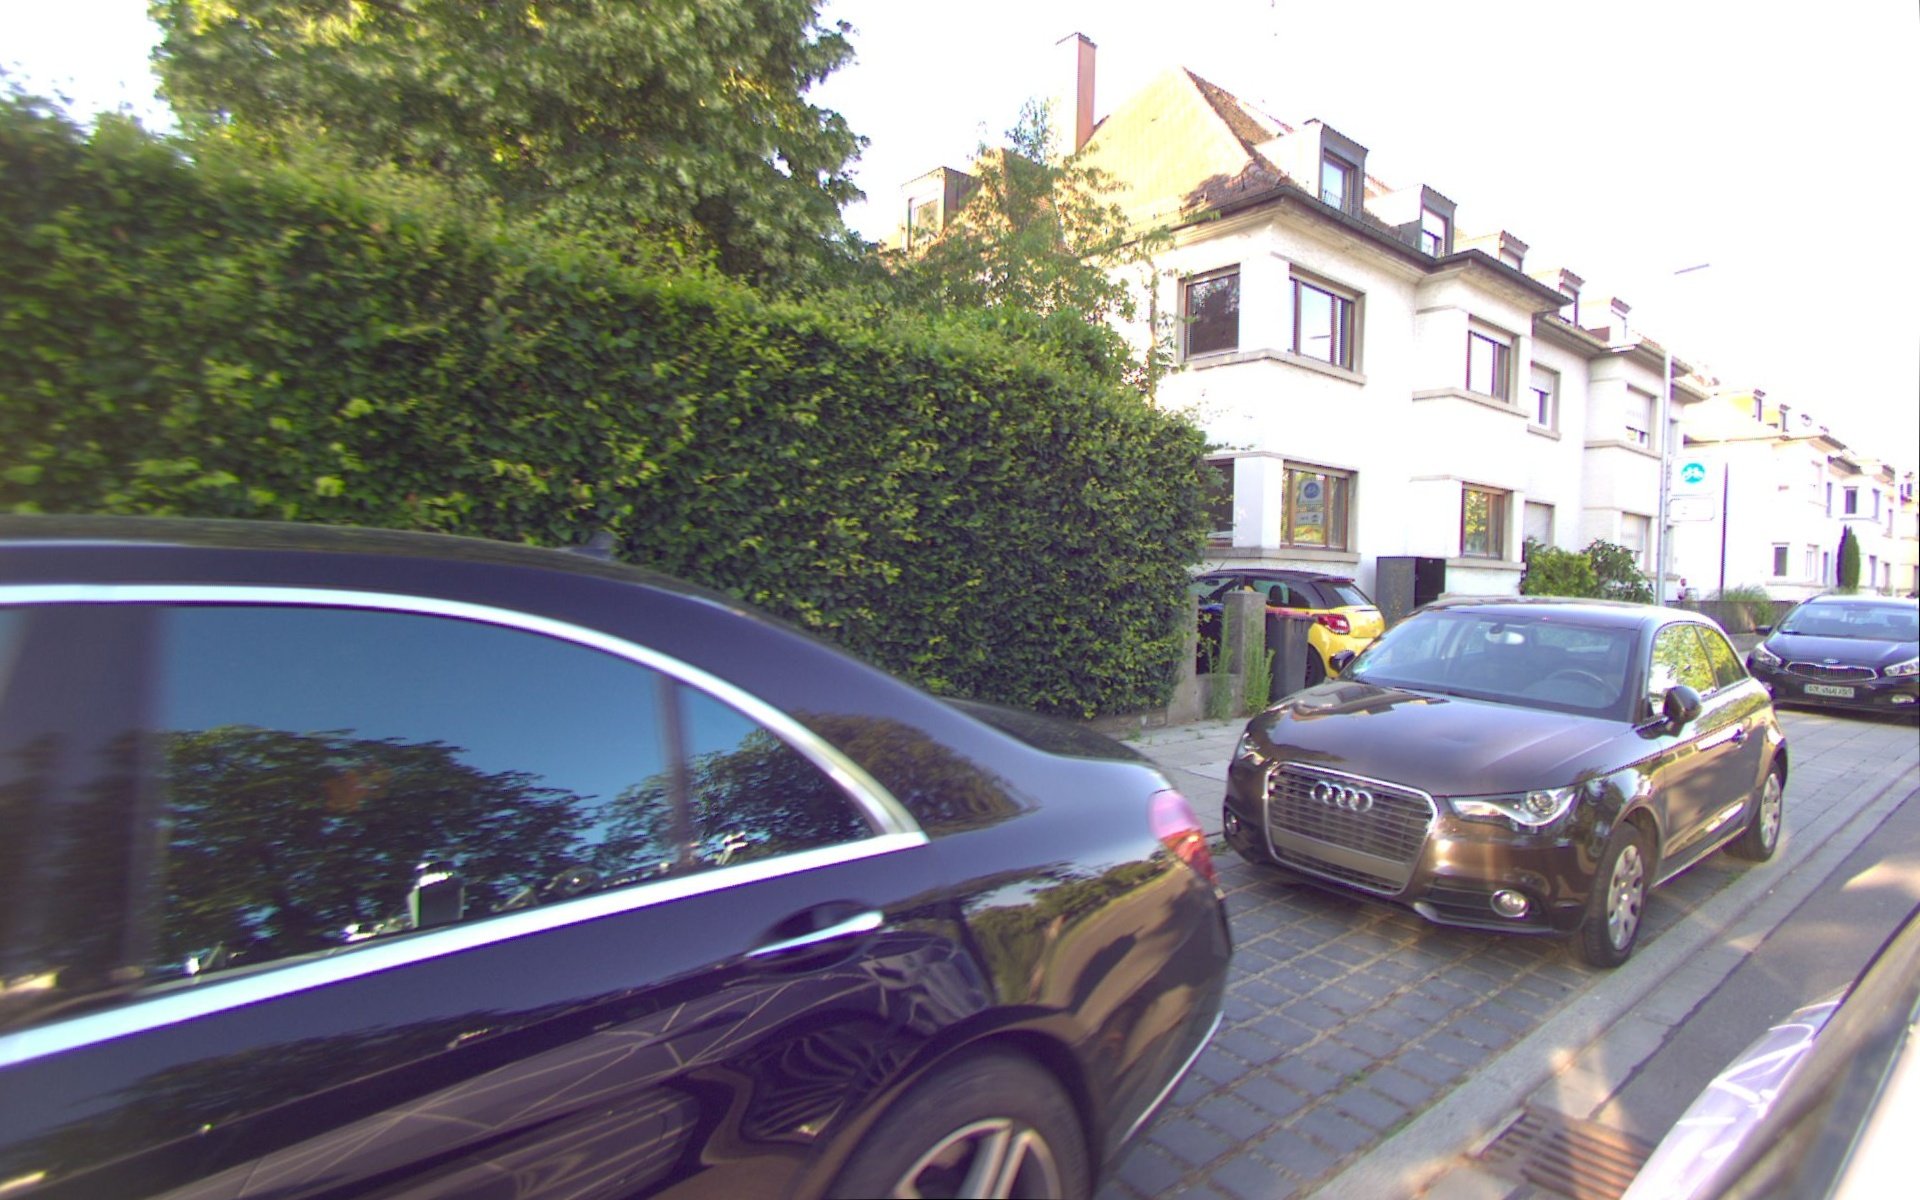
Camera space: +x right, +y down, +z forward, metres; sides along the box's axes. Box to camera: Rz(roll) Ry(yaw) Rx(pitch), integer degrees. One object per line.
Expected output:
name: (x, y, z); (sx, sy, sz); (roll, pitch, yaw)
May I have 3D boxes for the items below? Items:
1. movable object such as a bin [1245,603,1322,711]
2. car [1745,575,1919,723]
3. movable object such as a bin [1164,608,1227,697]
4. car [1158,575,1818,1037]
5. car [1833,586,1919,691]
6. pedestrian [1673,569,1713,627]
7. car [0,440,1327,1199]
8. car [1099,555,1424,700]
movable object such as a bin: (3.344, 0.569, 10.461); (0.508, 1.056, 0.648); (1, 1, 44)
car: (11.549, 0.514, 12.774); (4.181, 1.492, 1.750); (0, 5, -41)
movable object such as a bin: (2.650, 0.573, 11.392); (0.508, 0.955, 0.494); (1, 1, 44)
car: (2.910, 0.649, 5.191); (3.867, 1.445, 1.645); (0, 4, -41)
car: (15.499, 0.576, 16.200); (3.914, 1.489, 1.722); (0, 4, -41)
pedestrian: (26.103, -0.093, 36.054); (1.081, 2.039, 0.856); (1, 1, 35)
car: (-1.601, 0.629, 1.277); (4.790, 1.561, 1.862); (-1, 2, -42)
car: (3.818, 0.240, 13.200); (1.751, 1.514, 3.639); (0, 4, -43)
